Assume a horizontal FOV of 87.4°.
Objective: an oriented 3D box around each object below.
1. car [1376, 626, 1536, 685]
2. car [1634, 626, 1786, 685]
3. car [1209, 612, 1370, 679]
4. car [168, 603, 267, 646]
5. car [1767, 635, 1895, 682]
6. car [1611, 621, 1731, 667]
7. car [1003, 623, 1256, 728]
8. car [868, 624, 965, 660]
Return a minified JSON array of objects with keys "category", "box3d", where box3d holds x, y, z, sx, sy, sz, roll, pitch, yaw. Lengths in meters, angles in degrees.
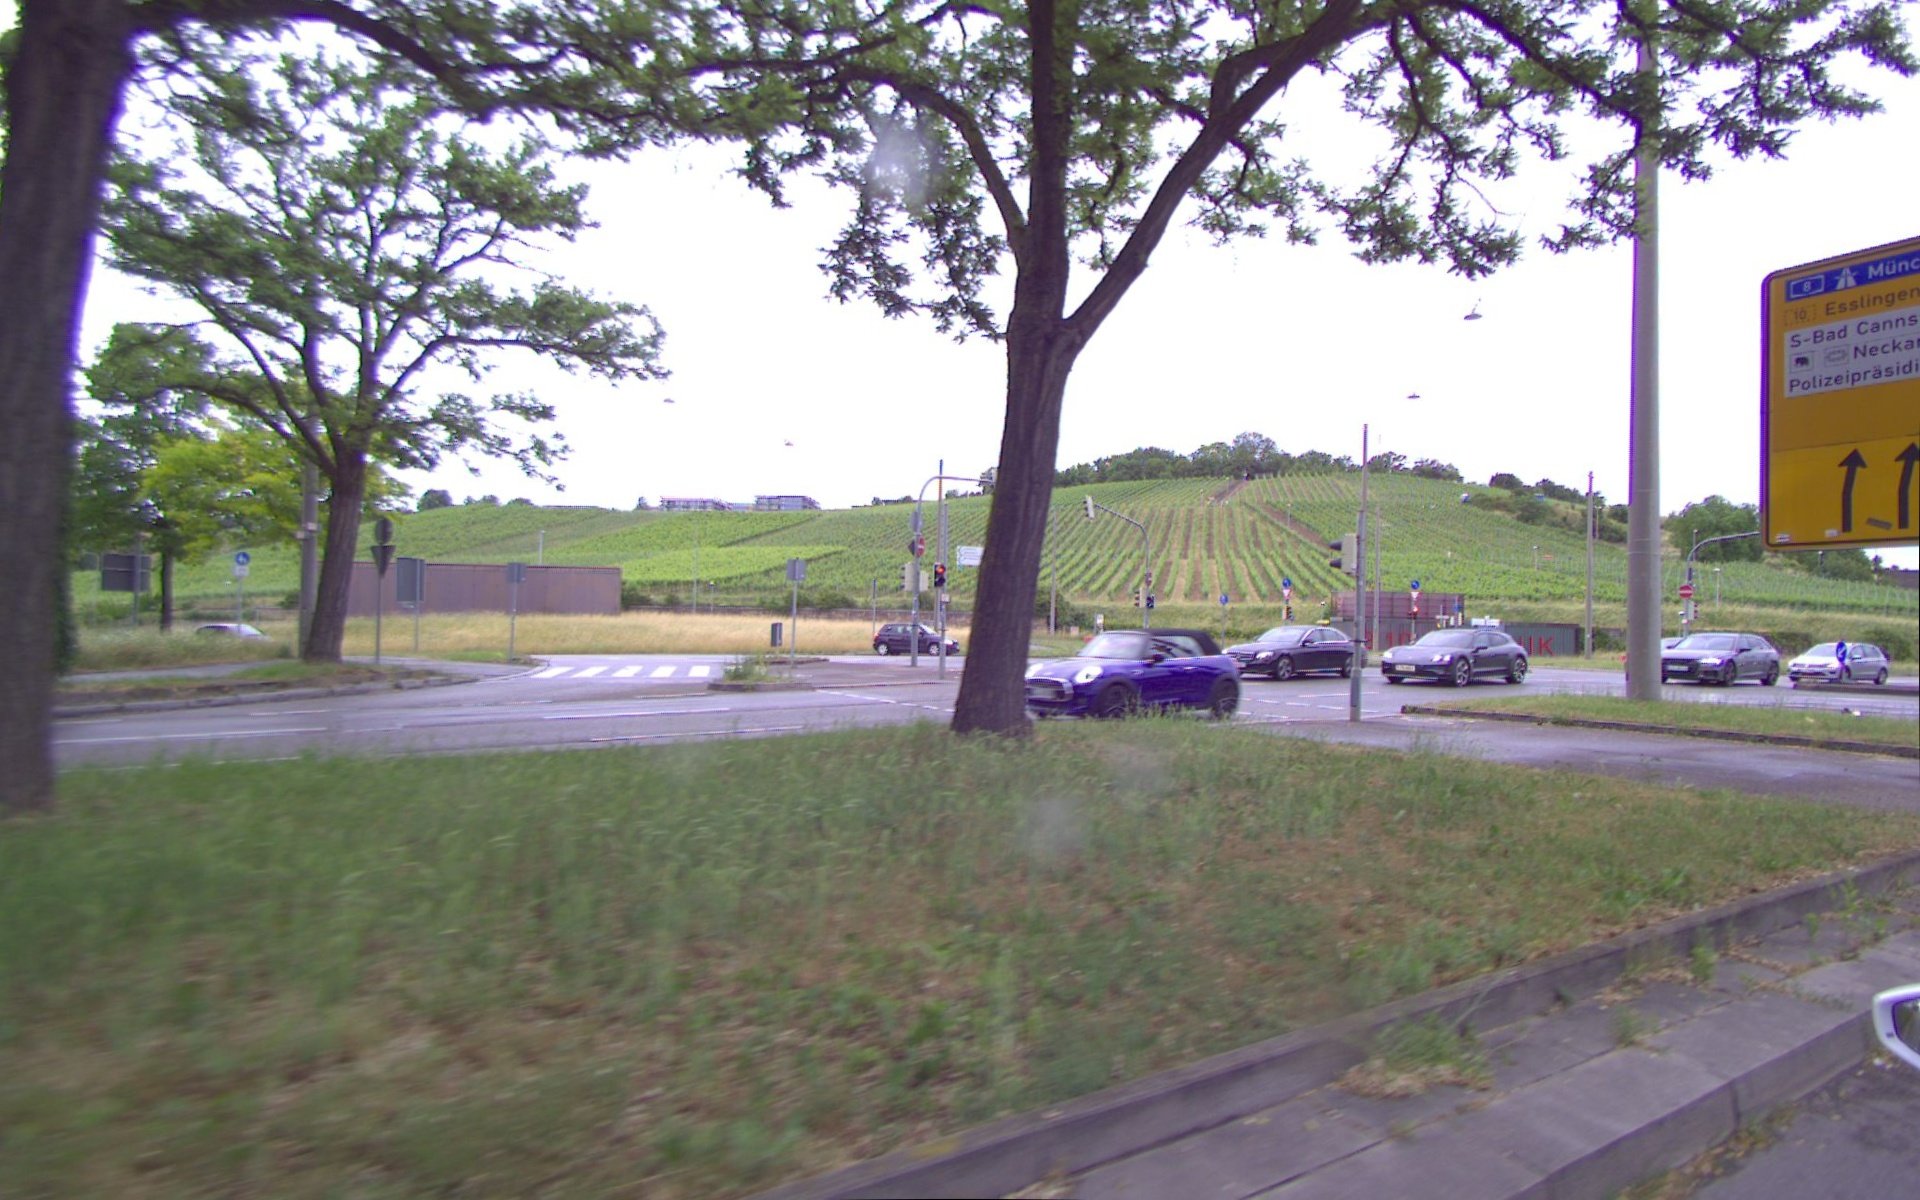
[{"category":"car","box3d":[13.142,1.409,26.527,4.621,1.381,1.812,1,-1,-35]},{"category":"car","box3d":[21.609,1.540,28.882,4.838,1.509,1.891,1,0,-32]},{"category":"car","box3d":[9.149,1.257,27.766,4.519,1.645,1.818,2,0,-34]},{"category":"car","box3d":[-33.982,1.102,45.976,3.924,1.684,1.998,3,1,25]},{"category":"car","box3d":[34.185,2.296,39.427,4.131,1.596,1.991,2,1,-20]},{"category":"car","box3d":[24.788,1.495,34.991,4.617,1.492,1.814,1,-1,-33]},{"category":"car","box3d":[2.733,1.092,15.890,3.844,1.414,1.774,1,0,-36]},{"category":"car","box3d":[-1.923,1.860,44.949,3.919,1.307,1.800,3,1,15]}]
